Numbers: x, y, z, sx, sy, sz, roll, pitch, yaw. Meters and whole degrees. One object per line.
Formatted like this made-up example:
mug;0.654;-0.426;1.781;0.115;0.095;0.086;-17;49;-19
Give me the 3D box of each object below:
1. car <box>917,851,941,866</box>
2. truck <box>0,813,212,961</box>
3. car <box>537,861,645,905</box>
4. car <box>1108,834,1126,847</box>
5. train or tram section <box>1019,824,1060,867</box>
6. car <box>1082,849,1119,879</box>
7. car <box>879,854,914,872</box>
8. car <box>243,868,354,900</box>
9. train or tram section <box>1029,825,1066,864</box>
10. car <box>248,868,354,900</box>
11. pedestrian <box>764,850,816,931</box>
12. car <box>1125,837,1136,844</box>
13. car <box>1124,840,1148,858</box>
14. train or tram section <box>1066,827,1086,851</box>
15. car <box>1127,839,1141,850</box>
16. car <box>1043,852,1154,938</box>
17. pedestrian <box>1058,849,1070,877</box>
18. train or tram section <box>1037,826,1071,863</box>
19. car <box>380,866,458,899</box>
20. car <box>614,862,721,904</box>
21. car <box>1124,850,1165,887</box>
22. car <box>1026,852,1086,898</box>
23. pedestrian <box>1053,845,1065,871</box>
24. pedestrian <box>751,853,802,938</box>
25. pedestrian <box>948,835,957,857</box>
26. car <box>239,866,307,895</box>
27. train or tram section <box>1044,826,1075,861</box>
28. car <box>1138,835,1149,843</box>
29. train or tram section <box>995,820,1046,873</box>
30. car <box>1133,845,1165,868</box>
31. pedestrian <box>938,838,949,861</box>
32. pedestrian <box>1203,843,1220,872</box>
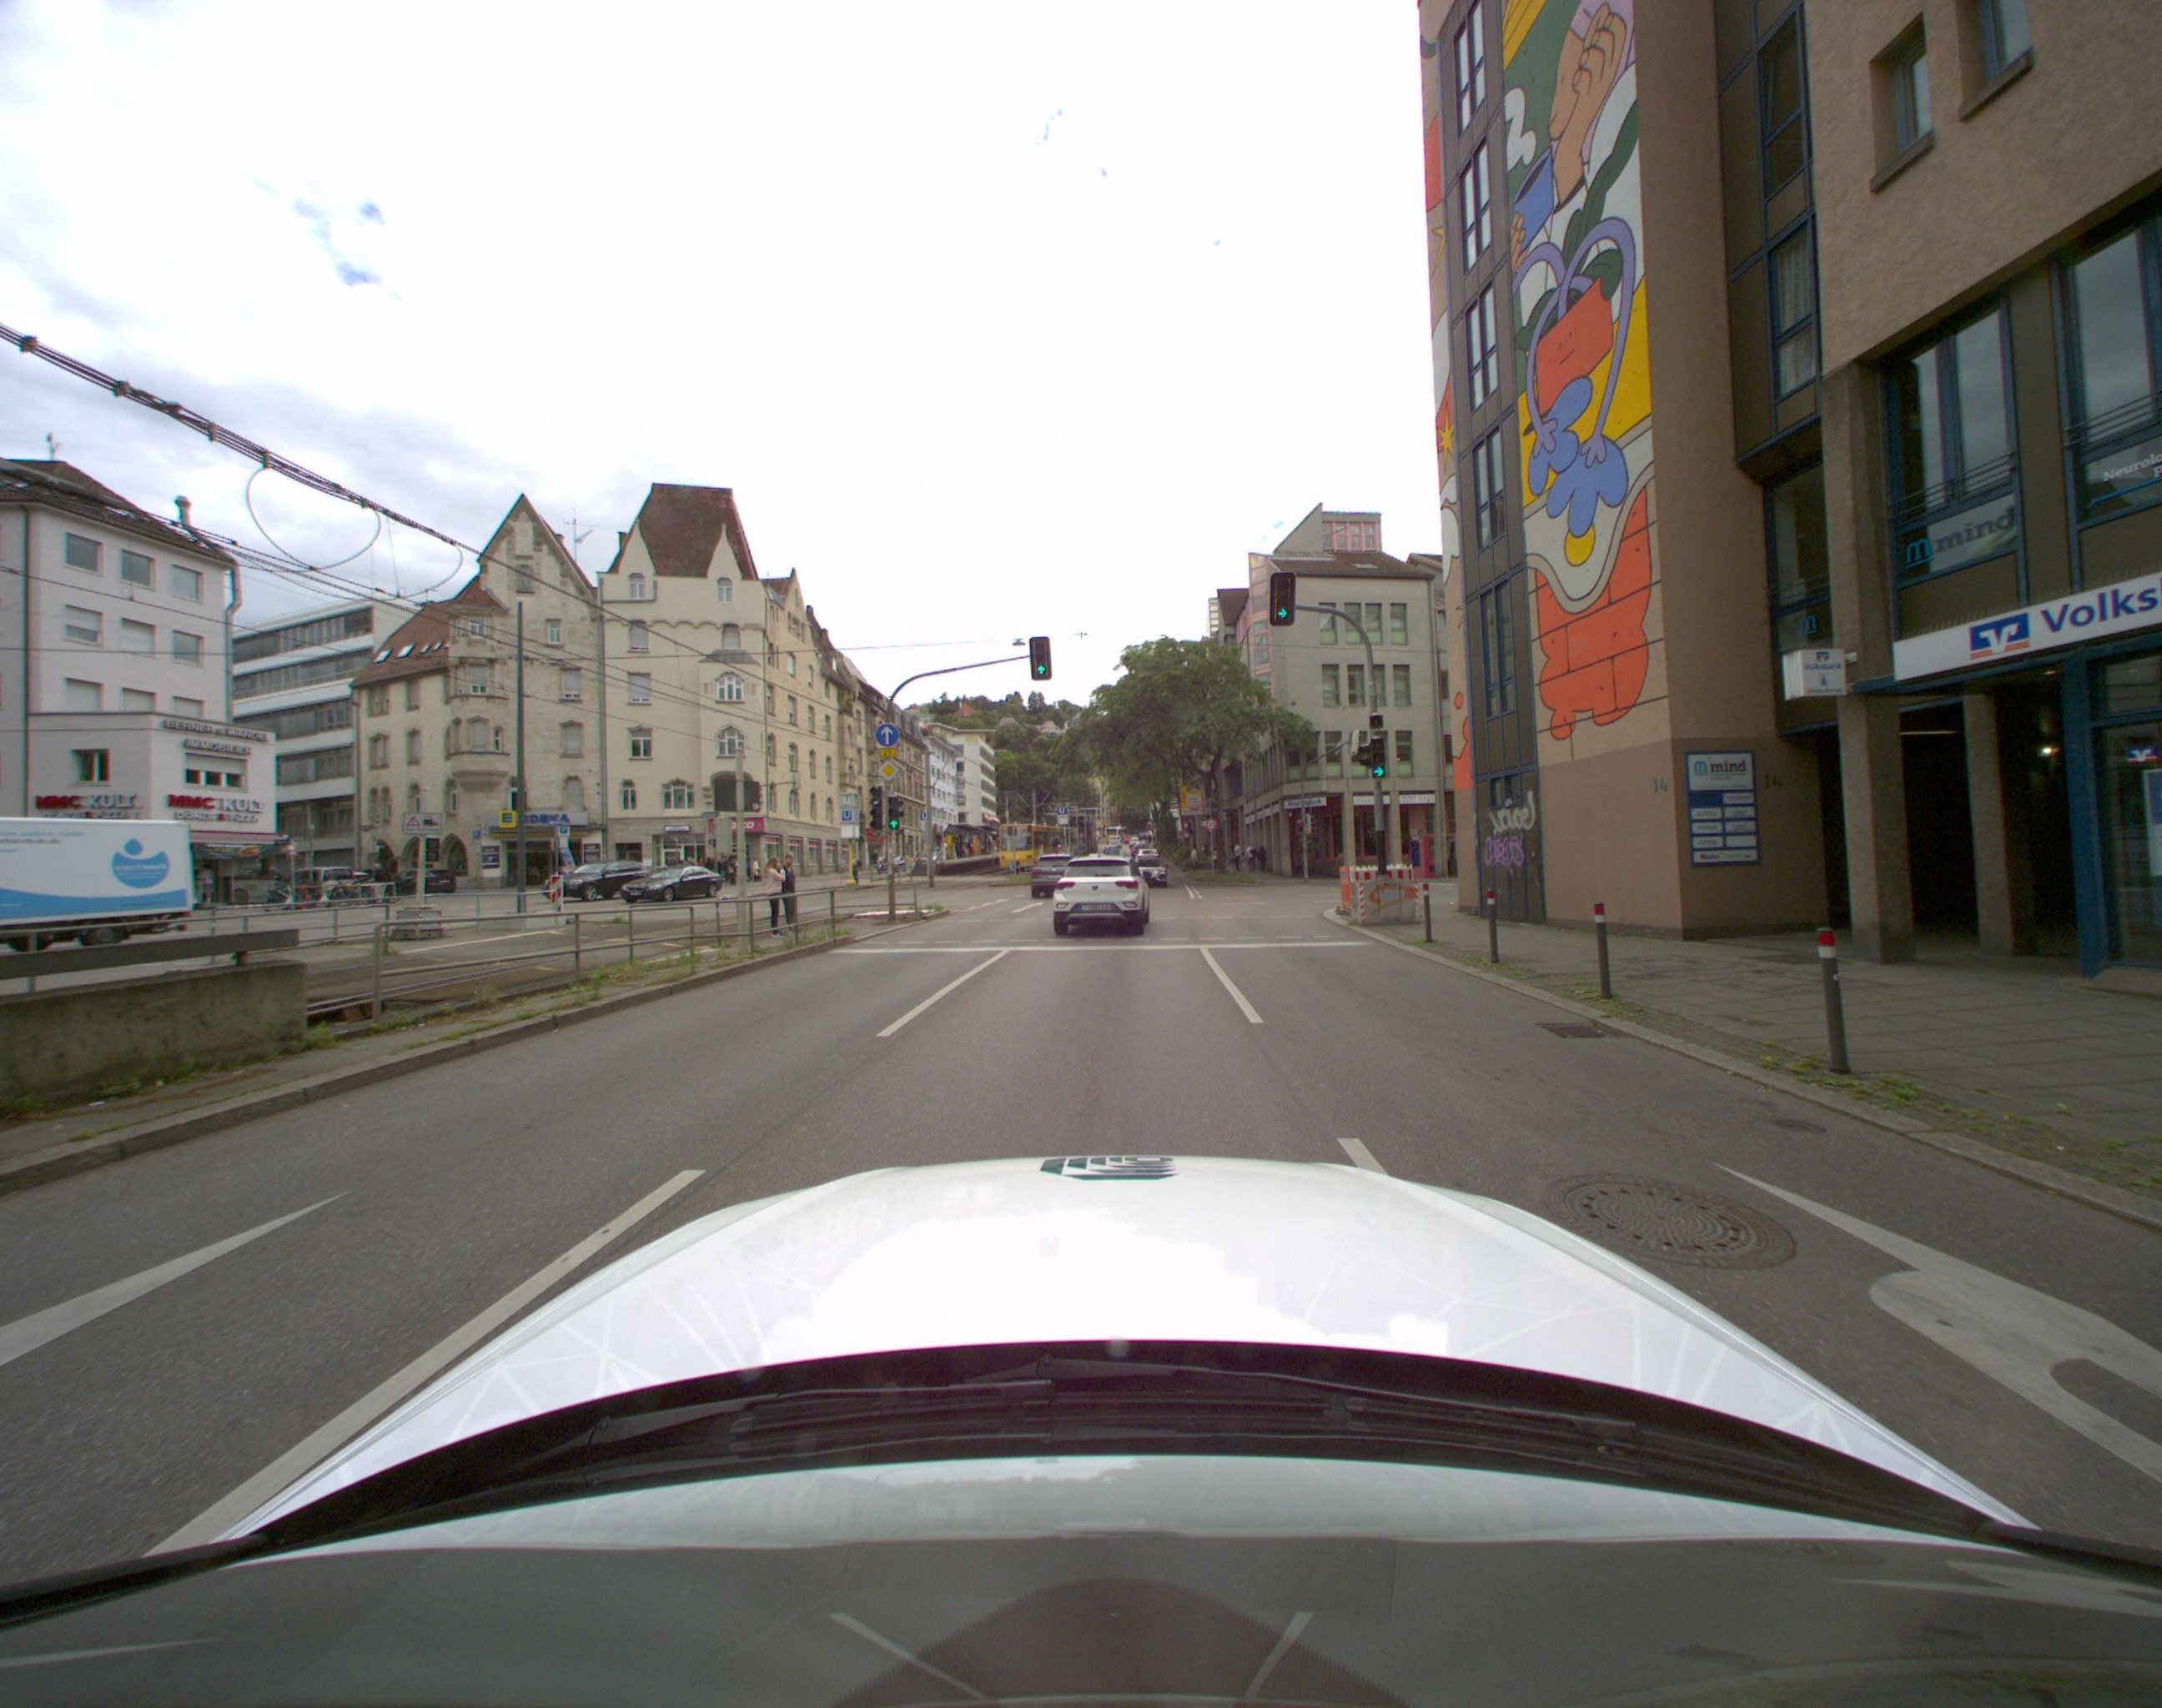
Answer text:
car;-16.233;0.483;87.230;1.551;1.523;3.605;-1;0;5
truck;-23.623;0.705;17.194;2.256;3.076;7.384;-1;0;5
car;-21.608;1.232;36.161;1.666;1.759;4.787;-1;0;4
car;5.670;-2.120;127.313;2.352;2.013;5.158;-1;0;7
train or tram section;-3.540;-0.753;71.269;2.822;3.520;5.758;-1;1;4
car;1.232;0.566;49.604;1.902;1.689;4.007;0;2;5
car;-16.274;0.787;71.998;1.622;1.375;3.792;-3;0;8
car;-40.705;1.547;42.406;4.473;1.560;1.759;-1;0;8
train or tram section;-3.105;-0.886;77.042;2.822;3.520;5.758;-1;1;4
car;-40.761;1.551;42.581;4.469;1.560;1.760;-1;0;12
pedestrian;-6.331;0.774;17.735;0.788;1.721;0.773;-2;0;3
car;9.371;-2.574;154.462;1.571;1.172;3.692;-1;0;13
car;6.584;-0.565;97.827;2.358;2.013;5.145;-1;0;-1
train or tram section;-0.756;-2.326;129.380;2.802;3.666;6.756;-1;1;2
car;8.585;-1.505;131.342;1.879;1.684;4.159;-1;0;-1
car;0.502;0.776;17.378;1.827;1.584;4.166;-2;0;8
pedestrian;-1.058;0.558;50.369;0.632;1.711;0.872;-2;1;3
train or tram section;-2.692;-0.988;82.794;2.822;3.520;5.758;-1;1;4
car;-38.371;1.650;47.197;3.741;1.684;1.645;-3;0;17
car;-17.394;1.180;34.533;1.647;1.552;4.546;-2;0;9
car;3.059;0.679;39.596;1.877;1.684;4.165;-1;0;3
car;-0.911;0.779;31.860;1.985;1.636;4.003;-1;0;3
pedestrian;-1.472;0.258;54.577;0.682;1.711;0.712;-2;1;3
pedestrian;-6.371;0.860;17.062;0.761;1.721;0.638;-2;0;3
pedestrian;-10.448;-0.649;66.333;0.634;1.711;0.689;-2;1;-5
car;-54.763;1.783;55.195;3.741;1.745;1.645;-3;0;17
train or tram section;-2.275;-1.167;88.624;2.800;3.666;5.909;-1;1;4
car;13.456;-3.174;176.163;1.873;1.684;4.173;-1;0;10
train or tram section;-4.355;-0.557;59.763;2.822;3.678;5.758;-1;1;4
car;5.142;0.192;62.197;1.880;1.684;4.156;-1;0;-3
pedestrian;-10.498;-0.376;62.250;0.685;1.711;0.662;-2;1;2
pedestrian;8.204;0.213;51.247;0.833;1.704;0.764;-4;1;-1
